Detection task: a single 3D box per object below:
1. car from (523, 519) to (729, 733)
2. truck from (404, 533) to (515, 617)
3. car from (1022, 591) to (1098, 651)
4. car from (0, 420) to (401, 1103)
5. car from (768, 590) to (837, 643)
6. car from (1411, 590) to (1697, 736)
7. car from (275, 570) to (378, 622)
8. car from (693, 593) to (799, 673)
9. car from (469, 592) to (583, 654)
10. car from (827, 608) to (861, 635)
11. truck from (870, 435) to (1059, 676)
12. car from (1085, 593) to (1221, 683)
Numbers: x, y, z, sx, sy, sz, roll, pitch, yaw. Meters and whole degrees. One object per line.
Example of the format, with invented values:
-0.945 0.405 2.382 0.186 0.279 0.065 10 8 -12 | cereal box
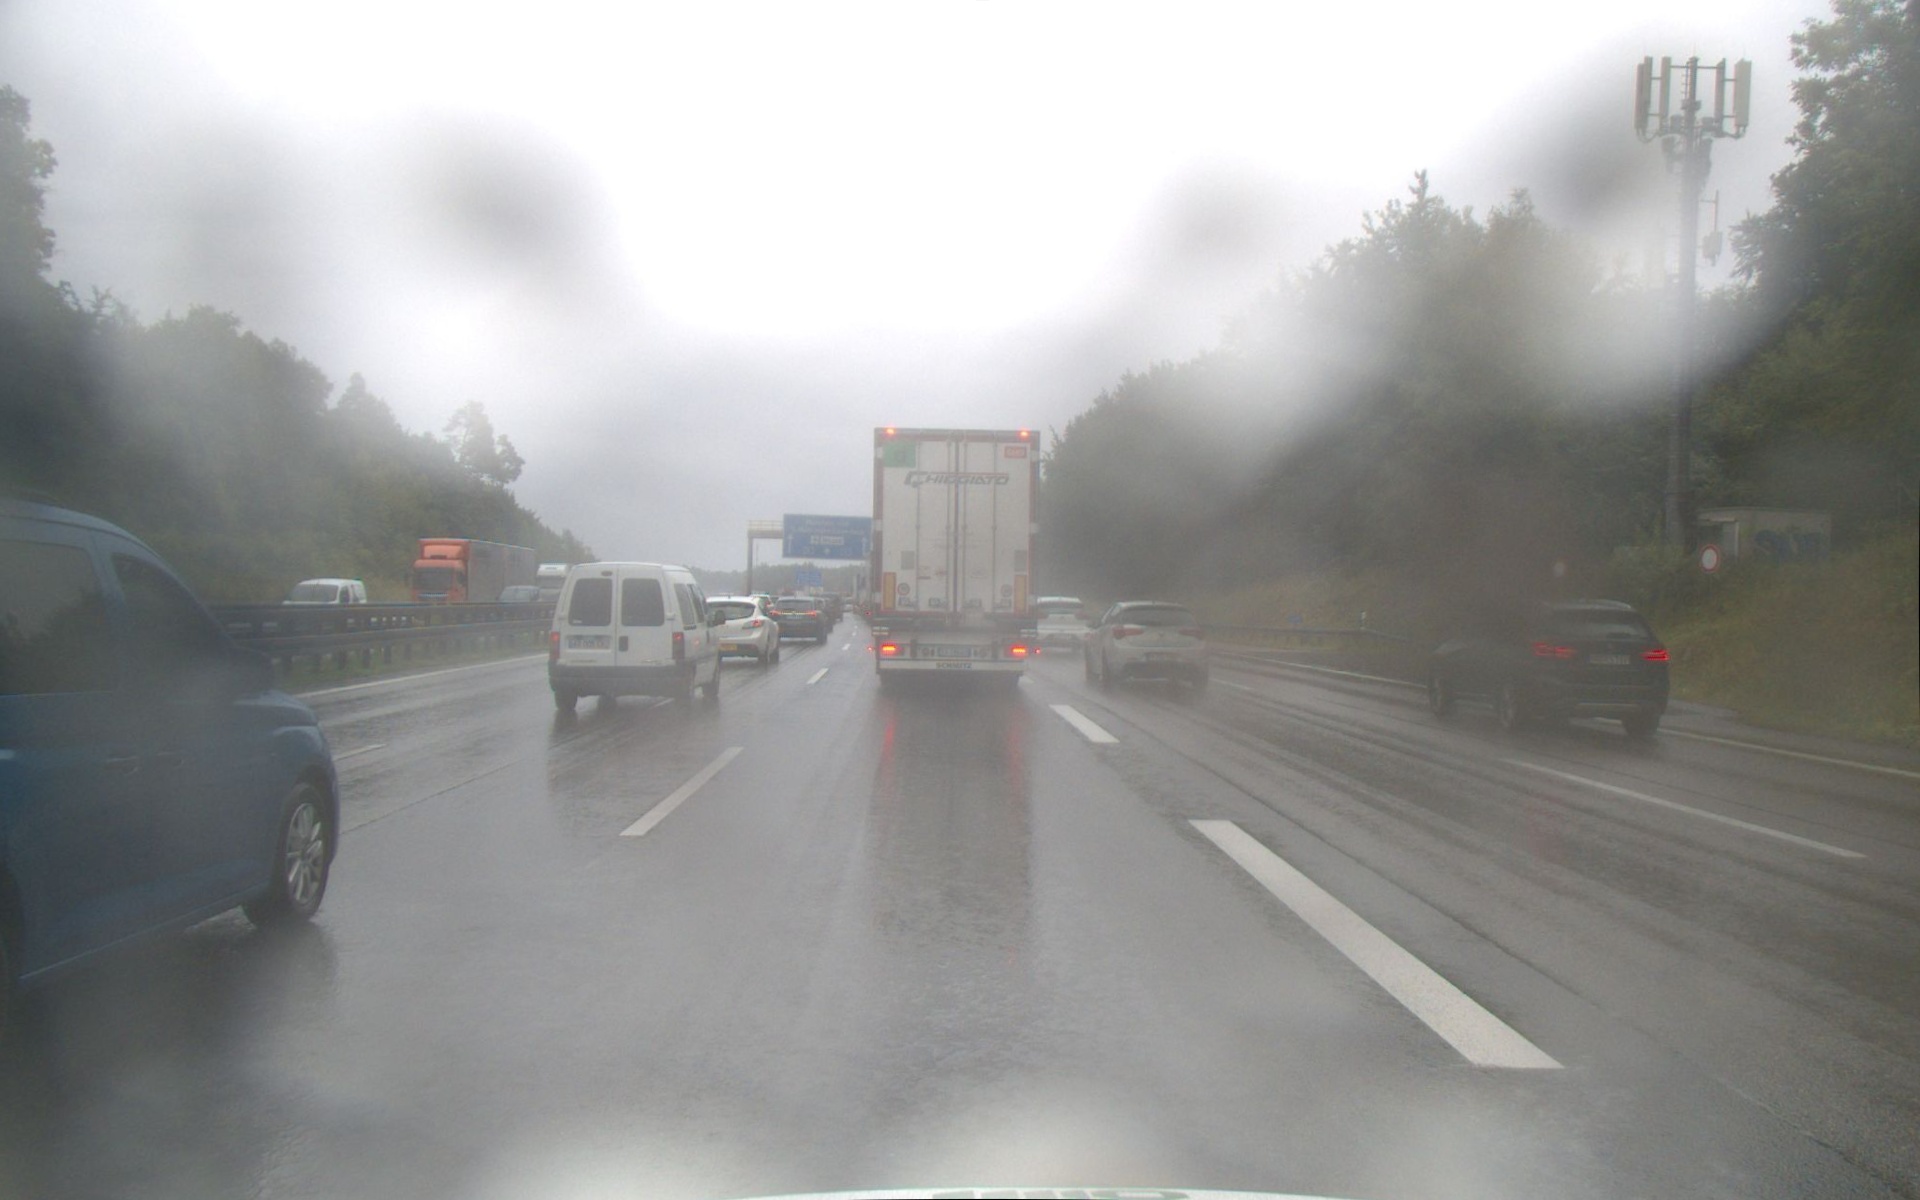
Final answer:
-4.466 0.310 22.936 2.169 2.618 5.011 1 0 -5 | car
-25.478 -1.220 84.683 2.649 4.000 10.026 1 0 0 | truck
2.722 0.543 45.990 1.808 1.549 4.343 1 0 0 | car
-3.828 0.443 5.408 2.223 1.945 5.016 1 0 1 | car
-5.038 0.495 53.390 1.808 1.619 4.466 1 0 0 | car
7.342 0.698 21.024 1.949 1.611 4.767 1 0 0 | car
-20.780 -0.138 54.404 1.822 1.624 4.000 1 0 0 | car
-4.670 0.682 36.588 1.808 1.619 4.071 1 0 0 | car
-11.450 0.564 43.960 2.049 1.531 4.750 0 0 -4 | car
-6.353 1.157 90.907 1.809 1.354 4.463 1 0 -4 | car
-0.030 -0.637 30.771 2.814 3.624 11.299 1 0 -1 | truck
3.326 0.612 29.278 1.851 1.450 4.482 1 0 0 | car
